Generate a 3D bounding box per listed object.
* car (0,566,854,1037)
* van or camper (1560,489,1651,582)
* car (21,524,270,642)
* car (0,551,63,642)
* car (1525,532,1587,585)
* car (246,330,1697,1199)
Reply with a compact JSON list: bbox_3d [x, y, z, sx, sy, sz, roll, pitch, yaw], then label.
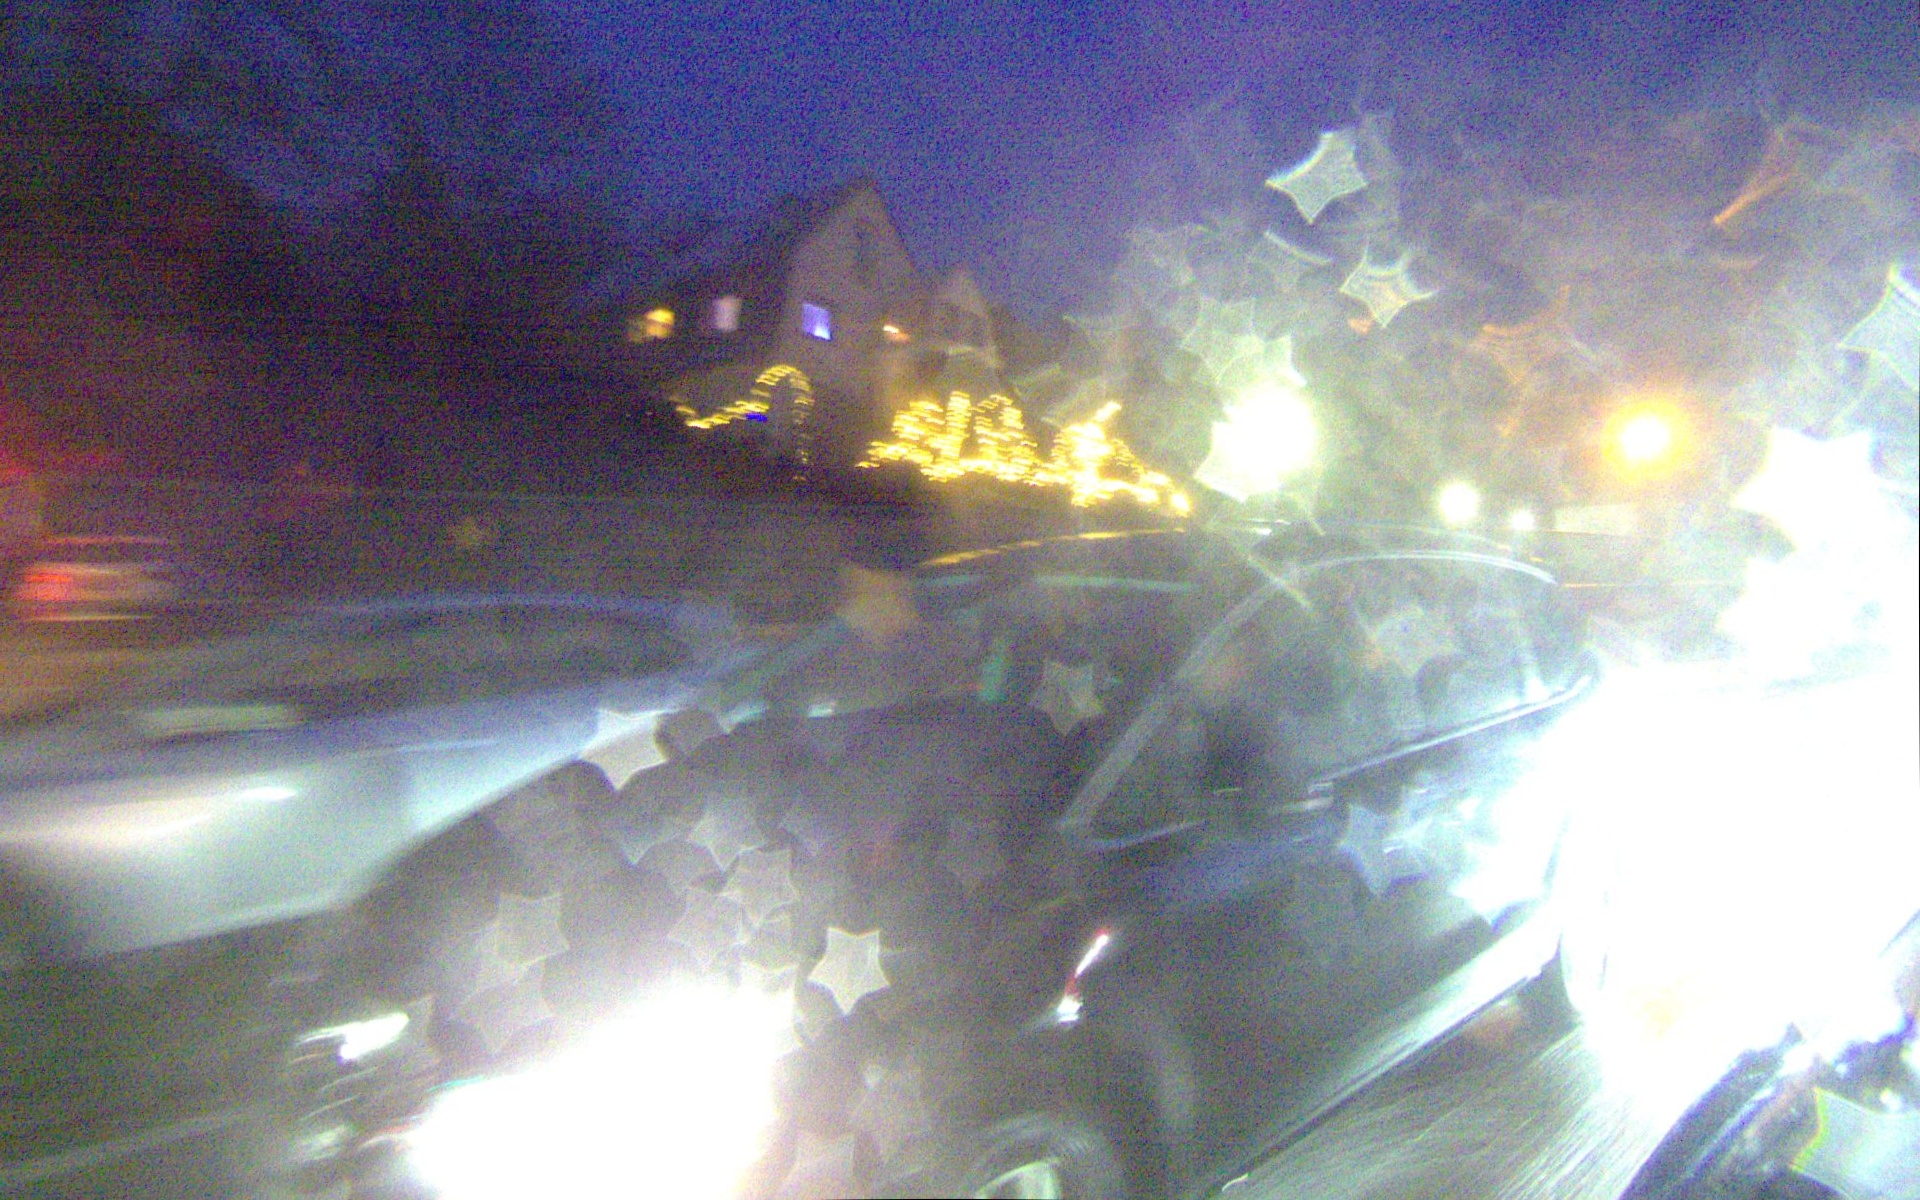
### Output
[{"bbox_3d":[-2.704,0.608,4.557,4.164,1.460,1.788,0,1,-41],"label":"car"},{"bbox_3d":[21.849,-2.057,34.456,2.396,2.828,5.709,-1,0,31],"label":"van or camper"},{"bbox_3d":[-11.853,-0.231,15.060,1.727,1.506,3.955,0,0,-21],"label":"car"},{"bbox_3d":[-14.403,-0.044,14.281,1.442,1.307,3.514,0,0,-21],"label":"car"},{"bbox_3d":[24.438,-1.638,41.416,1.986,2.039,3.952,0,0,34],"label":"car"},{"bbox_3d":[0.705,0.579,3.351,4.856,1.757,1.837,-1,0,-42],"label":"car"}]
